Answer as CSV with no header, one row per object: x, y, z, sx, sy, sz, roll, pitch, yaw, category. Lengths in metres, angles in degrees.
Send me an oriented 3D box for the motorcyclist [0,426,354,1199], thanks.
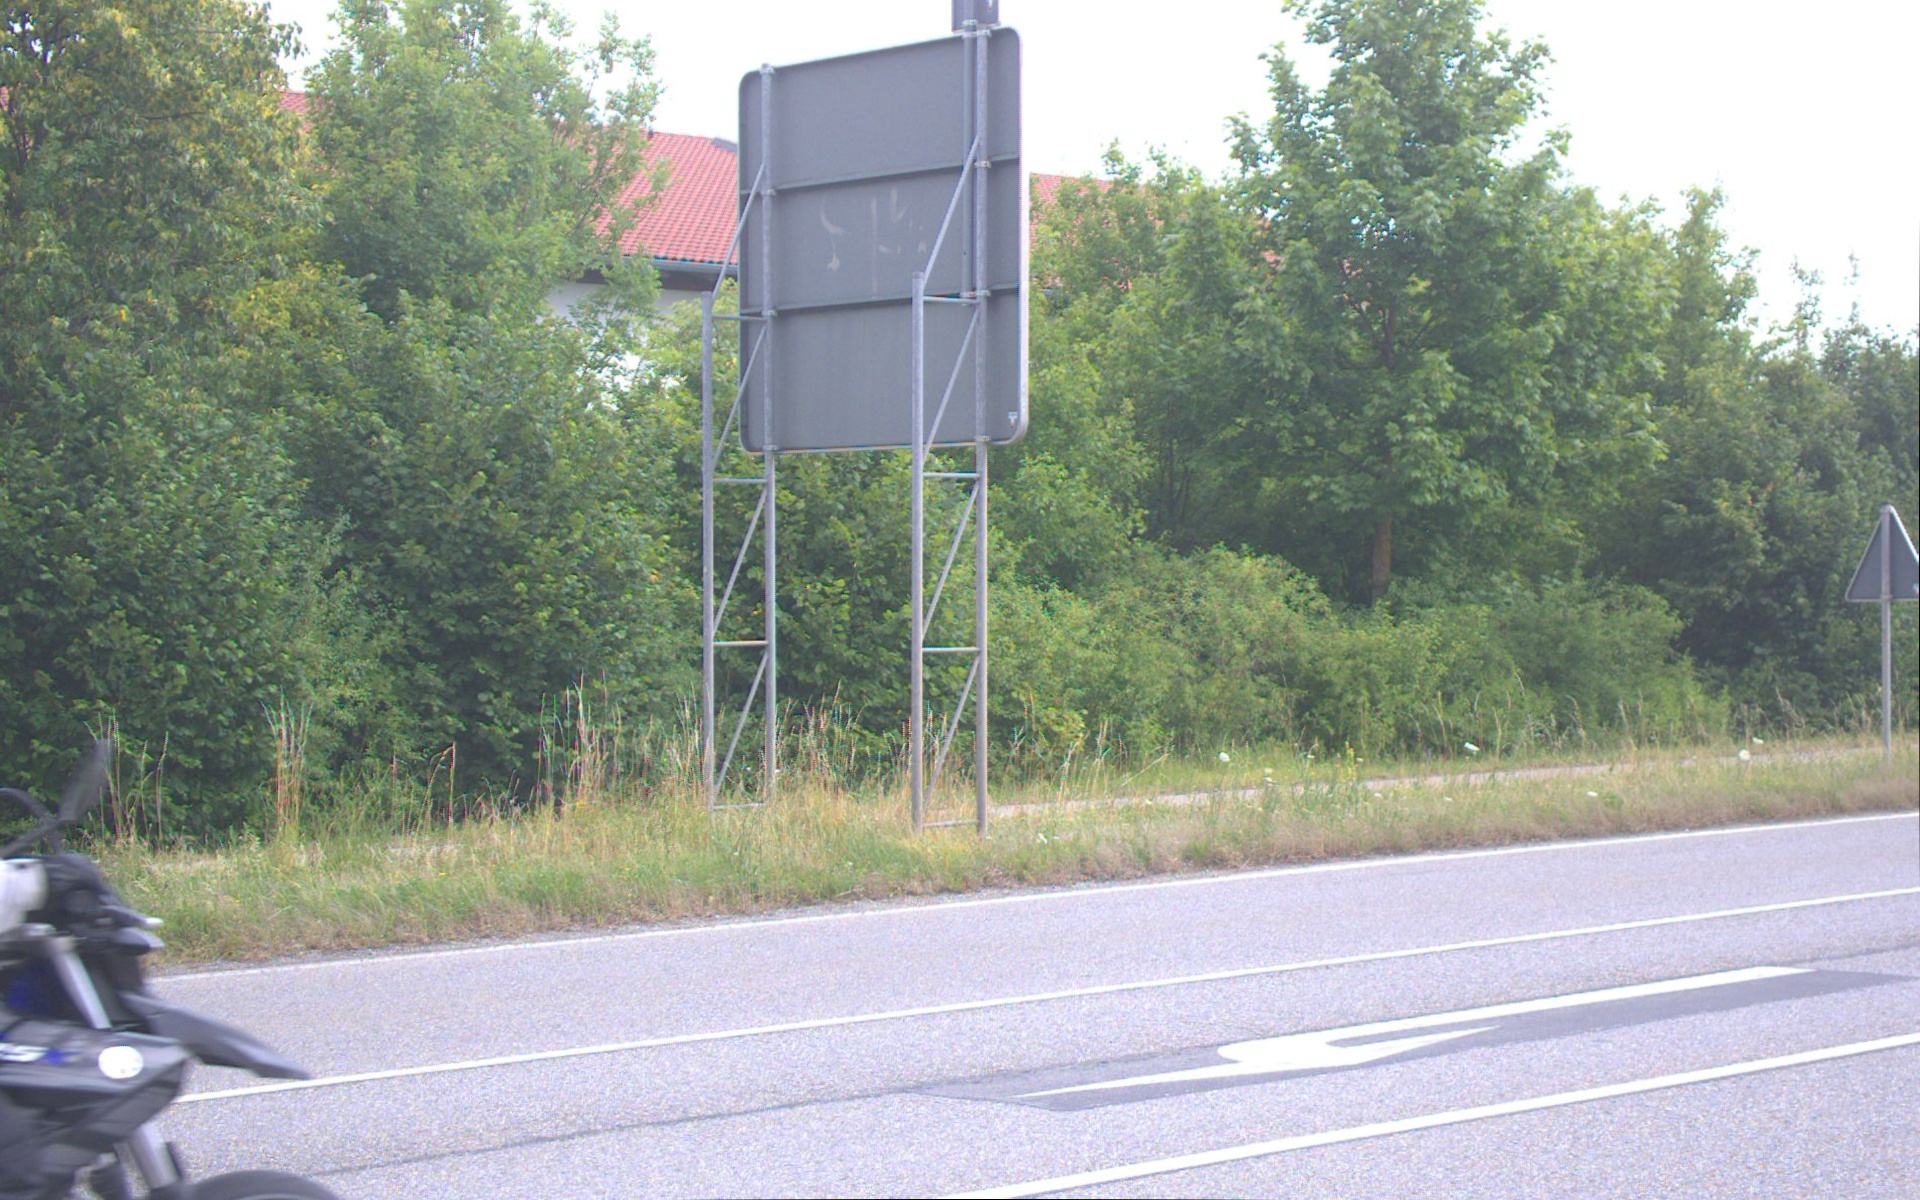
-1.620,0.640,4.816,1.197,1.744,0.944,0,1,-43,motorcyclist

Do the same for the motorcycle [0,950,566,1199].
-1.692,1.047,4.753,2.140,0.887,0.944,0,1,-43,motorcycle
